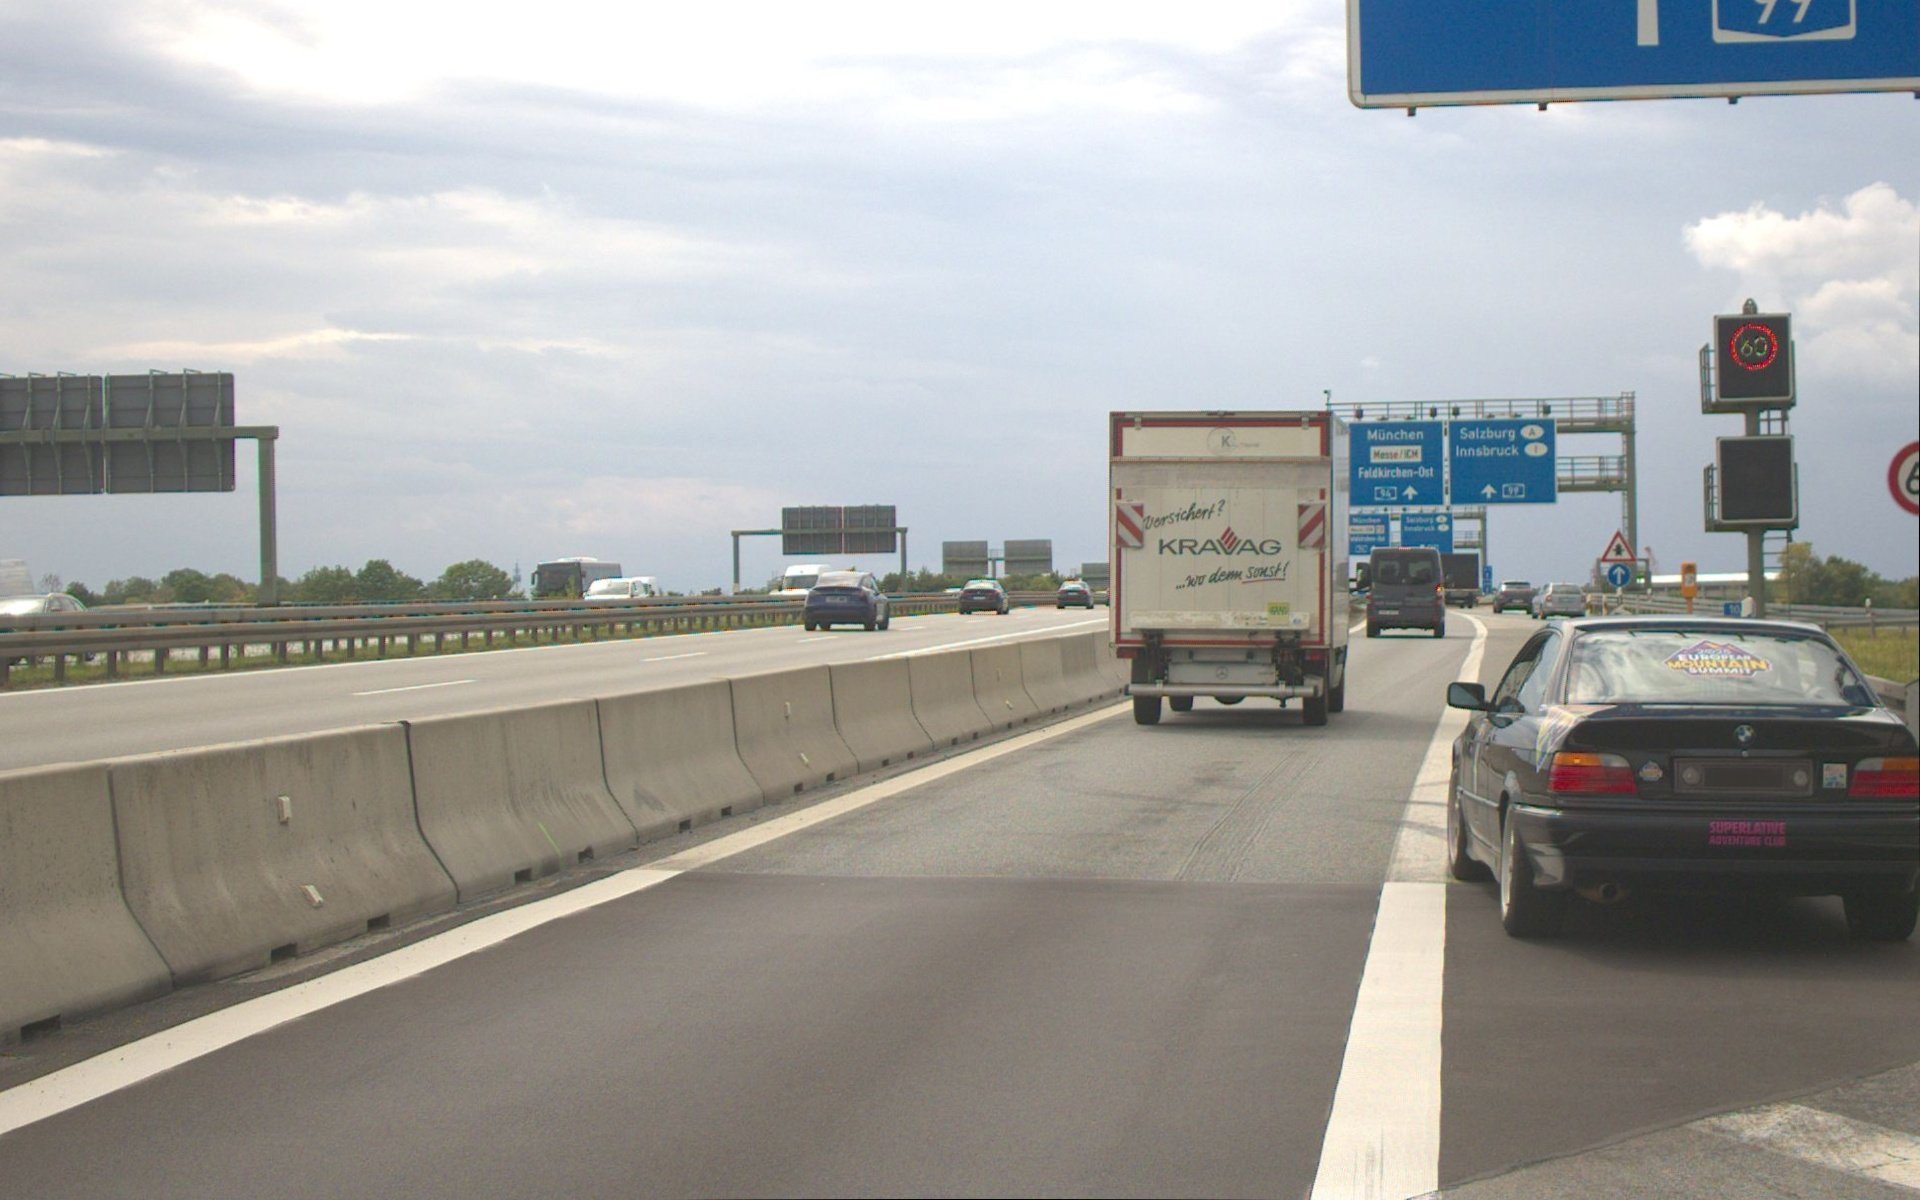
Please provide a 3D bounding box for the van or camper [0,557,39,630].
[{"bbox_3d":[-29.760,-0.200,103.299,2.187,2.164,5.808,0,1,5],"label":"van or camper"}]

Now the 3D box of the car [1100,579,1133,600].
[{"bbox_3d":[10.310,-0.697,226.508,1.994,1.393,3.999,0,0,5],"label":"car"}]

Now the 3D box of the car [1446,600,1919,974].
[{"bbox_3d":[3.176,0.714,15.221,1.782,1.373,4.136,1,0,5],"label":"car"}]

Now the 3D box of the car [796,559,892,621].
[{"bbox_3d":[-3.169,-0.296,94.759,1.994,1.656,4.383,0,0,7],"label":"car"}]

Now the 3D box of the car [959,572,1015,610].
[{"bbox_3d":[1.124,-0.384,142.682,1.994,1.536,3.999,0,0,5],"label":"car"}]

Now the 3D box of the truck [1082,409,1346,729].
[{"bbox_3d":[2.812,-0.331,36.522,2.405,3.079,6.368,1,0,8],"label":"truck"}]

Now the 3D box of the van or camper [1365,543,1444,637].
[{"bbox_3d":[11.658,-0.278,90.170,2.000,2.362,6.124,0,0,7],"label":"van or camper"}]

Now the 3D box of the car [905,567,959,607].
[{"bbox_3d":[-1.168,-0.561,146.797,1.667,1.700,3.999,1,0,9],"label":"car"}]

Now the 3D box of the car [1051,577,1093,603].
[{"bbox_3d":[5.991,-0.545,182.896,1.994,1.393,3.999,0,0,5],"label":"car"}]
